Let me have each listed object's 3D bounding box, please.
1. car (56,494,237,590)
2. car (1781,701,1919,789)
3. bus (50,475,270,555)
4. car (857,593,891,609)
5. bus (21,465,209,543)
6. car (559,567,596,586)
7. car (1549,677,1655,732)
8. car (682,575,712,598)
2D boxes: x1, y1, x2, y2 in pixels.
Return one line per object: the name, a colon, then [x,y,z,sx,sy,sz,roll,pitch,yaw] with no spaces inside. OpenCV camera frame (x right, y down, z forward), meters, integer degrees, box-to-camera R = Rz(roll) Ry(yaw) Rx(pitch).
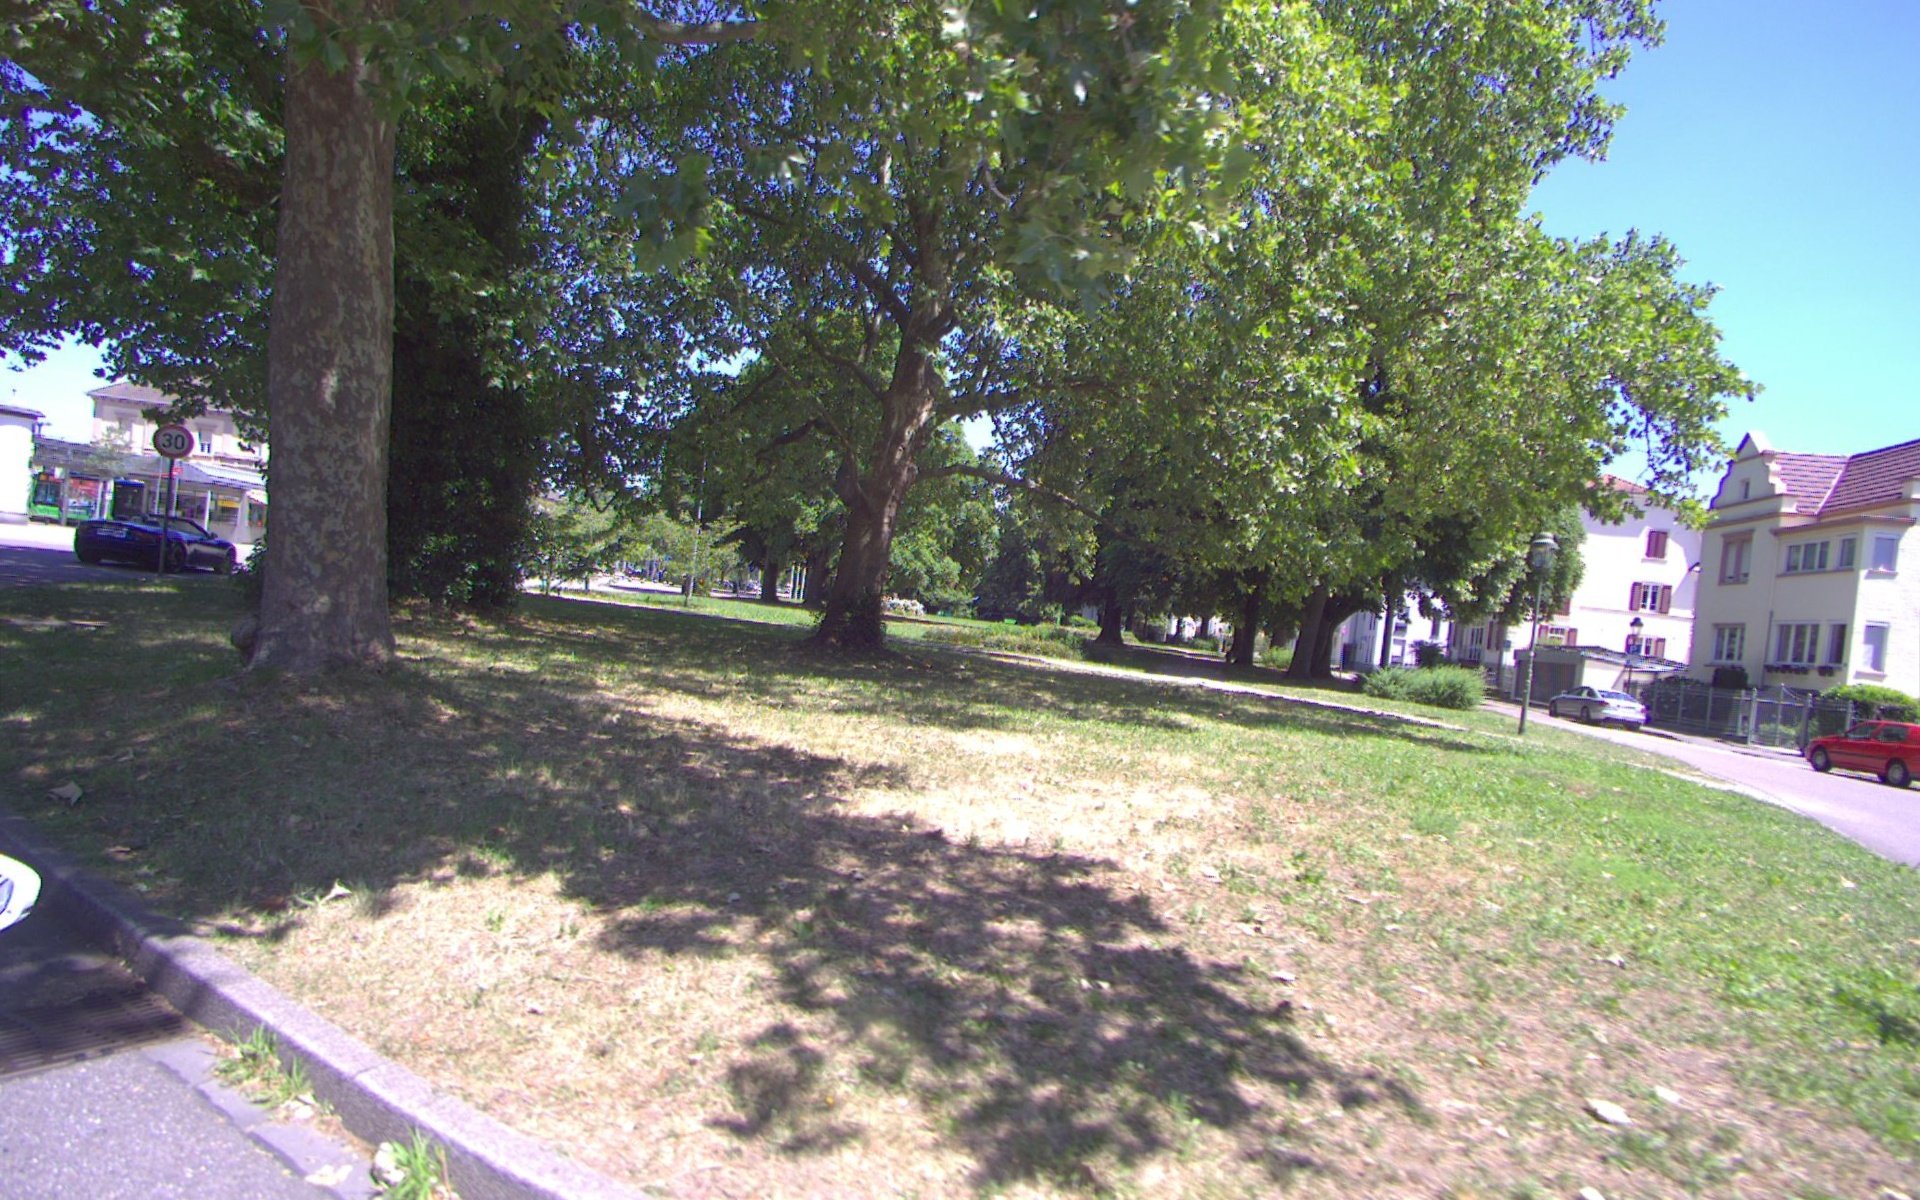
car: [-19.692,-1.343,24.596,2.102,1.871,4.029,7,-1,-21]
car: [21.408,3.400,23.201,1.721,1.542,4.001,9,0,6]
bus: [-45.743,-4.671,58.498,2.636,3.078,13.882,6,-1,-5]
car: [-10.607,0.172,123.710,4.046,1.484,1.998,7,0,-7]
bus: [-53.826,-5.919,64.754,2.130,3.569,12.215,7,0,-4]
car: [-33.109,-2.045,87.262,1.787,1.463,4.155,3,0,-3]
car: [24.216,3.907,38.146,1.720,1.526,4.002,7,0,8]
car: [-19.455,-0.979,74.479,1.695,1.496,3.700,6,0,-9]
